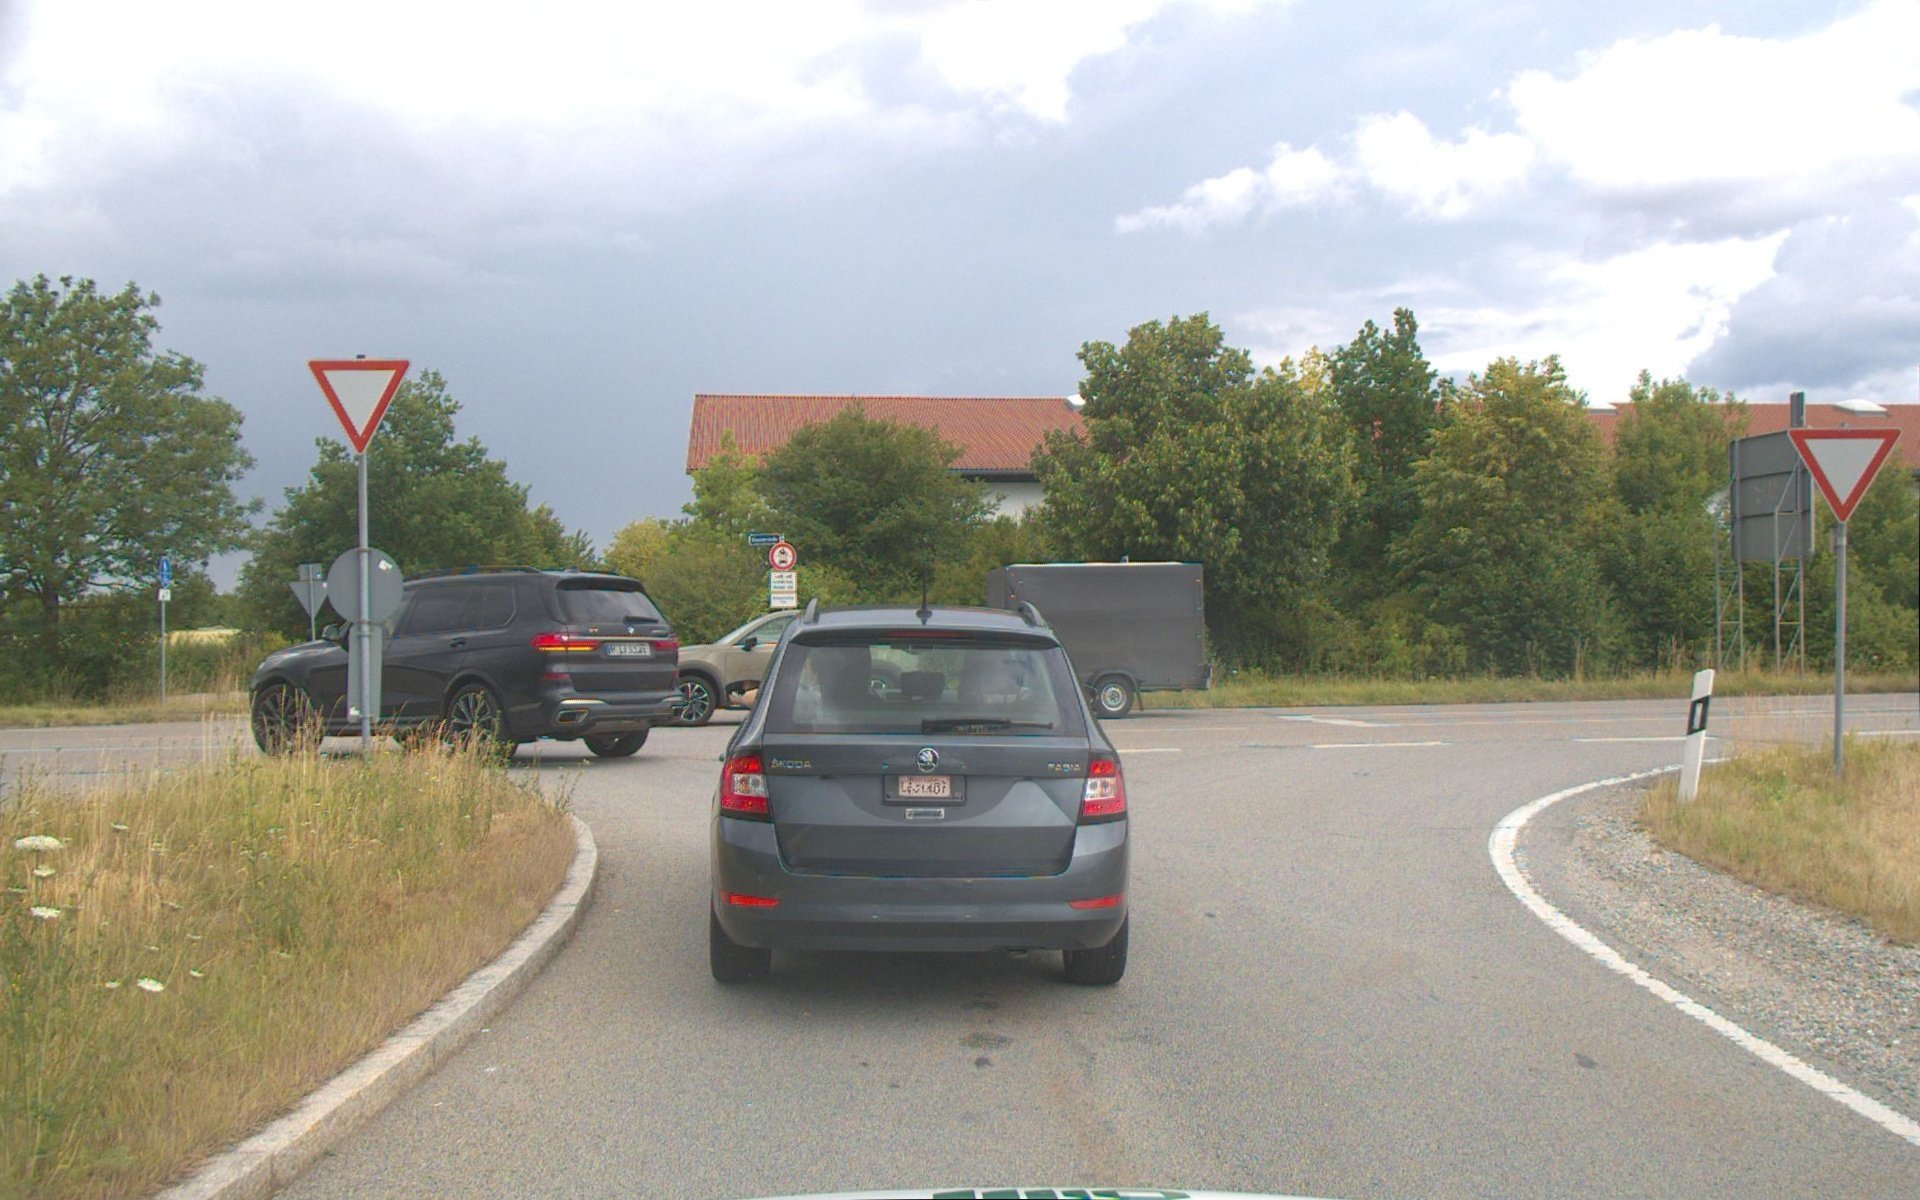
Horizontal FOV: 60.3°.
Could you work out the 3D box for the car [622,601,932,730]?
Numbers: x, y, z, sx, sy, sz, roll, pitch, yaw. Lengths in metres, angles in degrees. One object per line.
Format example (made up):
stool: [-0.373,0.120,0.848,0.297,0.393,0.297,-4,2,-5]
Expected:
car: [-2.750,0.942,24.607,4.384,1.712,1.994,-1,-1,-11]

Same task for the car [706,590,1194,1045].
car: [-0.243,0.729,7.374,1.644,1.488,3.701,0,-1,-7]

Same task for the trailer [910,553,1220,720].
trailer: [1.541,0.546,25.469,4.302,2.333,2.411,-1,-1,-10]

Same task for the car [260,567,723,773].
car: [-4.753,0.656,16.565,4.546,1.806,1.994,-1,-1,33]
